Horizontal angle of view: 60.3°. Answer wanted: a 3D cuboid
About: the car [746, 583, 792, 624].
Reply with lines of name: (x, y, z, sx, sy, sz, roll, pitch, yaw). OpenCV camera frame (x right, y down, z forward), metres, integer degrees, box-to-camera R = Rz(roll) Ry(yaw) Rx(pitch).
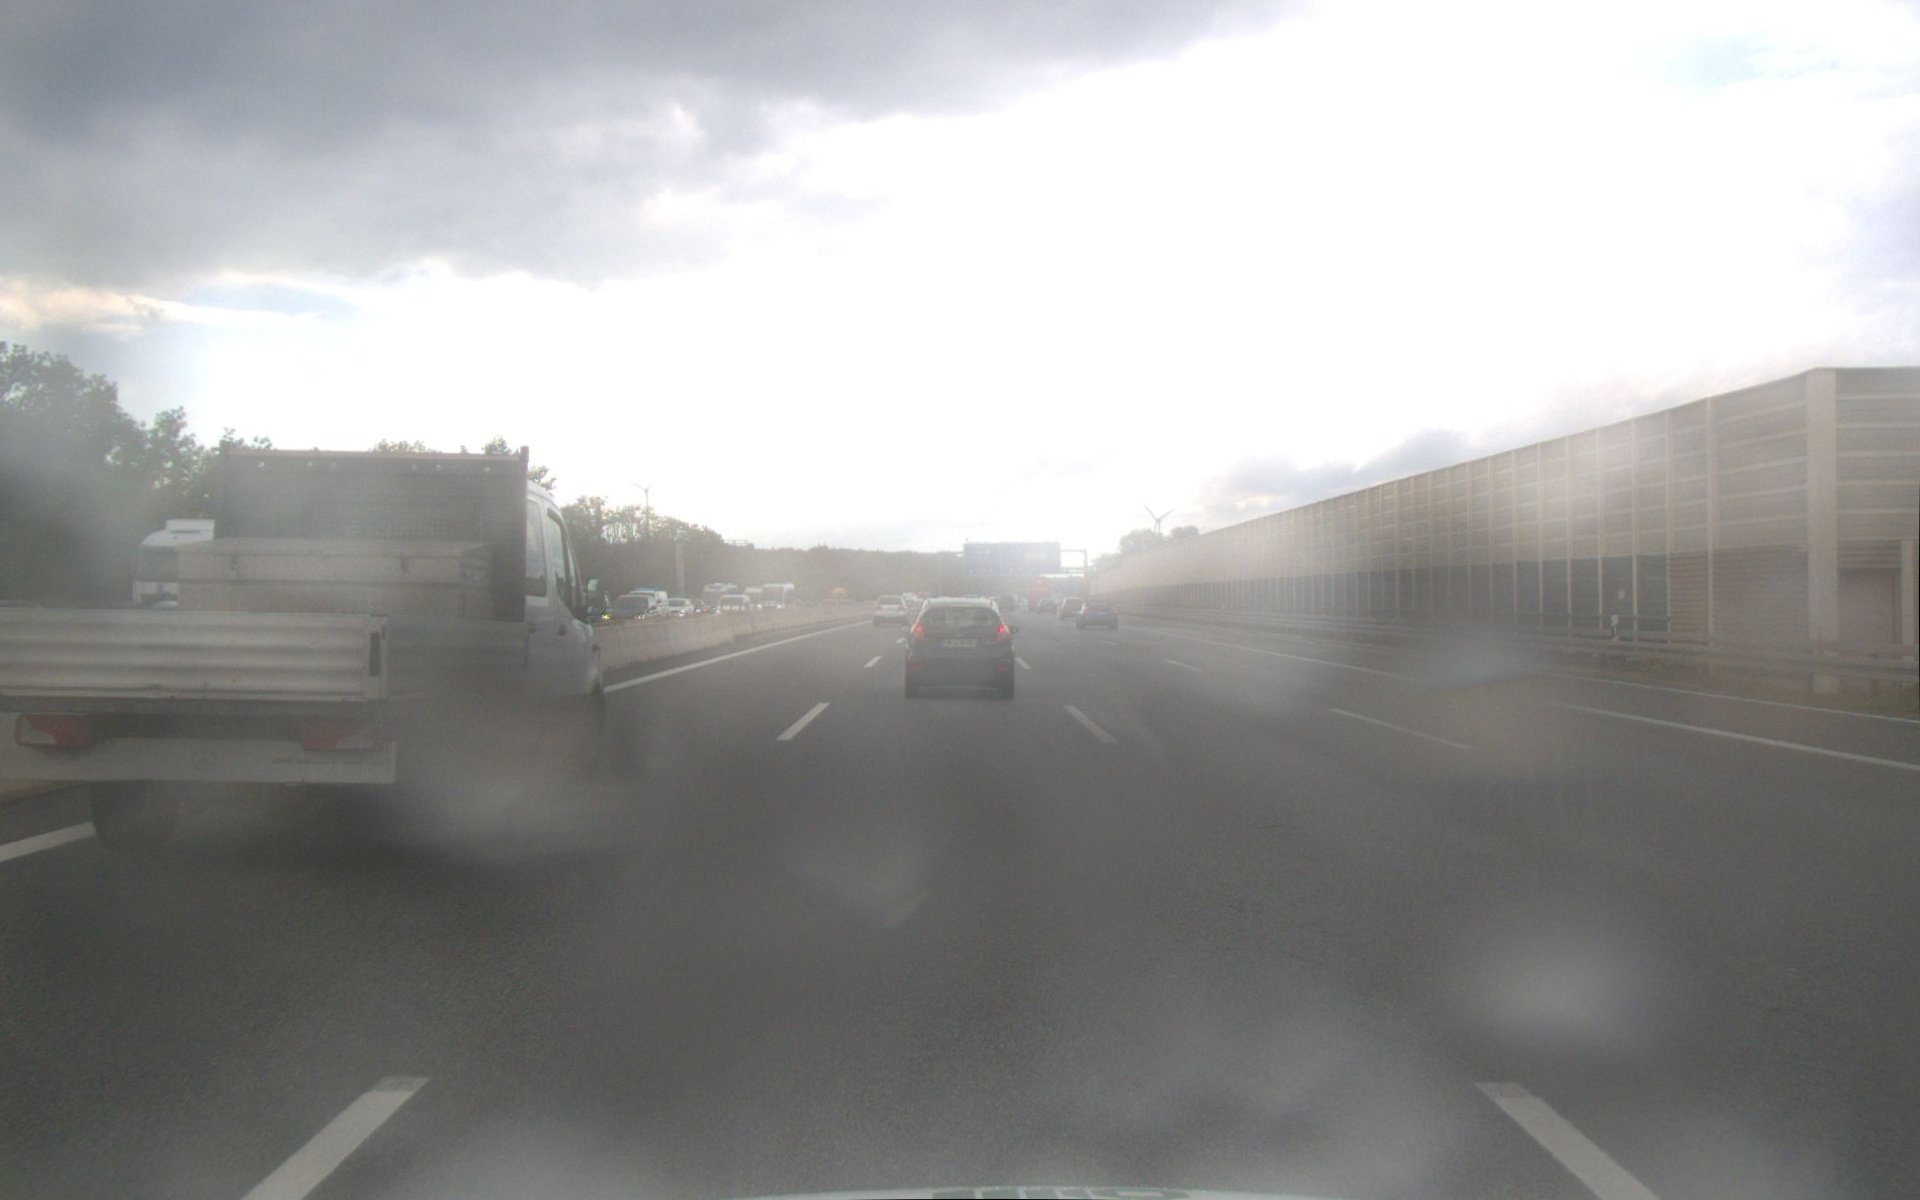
car: (-14.257, 0.211, 124.014, 2.185, 2.797, 9.166, 0, 1, 1)

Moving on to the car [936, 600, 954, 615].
car: (-1.686, 0.874, 188.503, 1.927, 1.588, 4.433, -1, -1, 0)

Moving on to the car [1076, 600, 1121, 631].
car: (6.714, 0.743, 80.567, 1.909, 1.443, 4.232, 0, 0, 1)

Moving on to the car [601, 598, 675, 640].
car: (-13.507, 0.768, 69.676, 2.018, 1.674, 5.380, 0, 0, 0)

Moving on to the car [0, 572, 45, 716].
car: (-13.742, 0.578, 20.483, 2.018, 1.913, 4.997, 0, 0, 0)

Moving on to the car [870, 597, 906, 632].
car: (-3.584, 0.713, 82.854, 1.682, 1.652, 4.278, 0, 1, -1)

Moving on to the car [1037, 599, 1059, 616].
car: (8.250, 0.745, 155.341, 1.844, 1.588, 4.433, -1, -1, 0)

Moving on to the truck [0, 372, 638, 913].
truck: (-3.899, 0.164, 11.180, 2.260, 2.482, 7.146, 0, 1, -2)

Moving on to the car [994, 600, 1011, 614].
car: (5.150, 0.864, 199.487, 1.927, 1.588, 4.432, -1, -1, 0)

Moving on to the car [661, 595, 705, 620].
car: (-17.445, 0.482, 104.277, 2.018, 1.561, 4.519, 0, 0, 0)

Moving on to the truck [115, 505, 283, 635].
truck: (-25.178, -0.967, 55.034, 2.911, 4.105, 5.726, 0, 0, 0)

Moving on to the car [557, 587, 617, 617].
car: (-21.242, 0.098, 94.356, 2.018, 1.674, 6.120, 0, 0, 0)

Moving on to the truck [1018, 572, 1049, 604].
truck: (8.901, -1.437, 201.597, 3.088, 3.664, 12.699, 1, 0, 0)

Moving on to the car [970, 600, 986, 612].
car: (2.431, 0.830, 224.791, 1.928, 1.588, 4.432, -1, -1, -1)

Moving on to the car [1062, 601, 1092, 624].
car: (8.243, 0.857, 116.692, 1.844, 1.569, 4.433, -1, -1, 1)

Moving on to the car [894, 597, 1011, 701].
car: (-0.132, 0.694, 25.799, 1.682, 1.441, 4.278, 0, 1, -1)

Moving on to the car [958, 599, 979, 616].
car: (0.837, 0.735, 161.374, 1.927, 1.588, 4.433, -1, -1, 0)

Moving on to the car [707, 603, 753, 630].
car: (-13.871, 0.956, 99.948, 2.018, 1.561, 5.470, 0, 0, 0)

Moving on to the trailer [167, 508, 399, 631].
trailer: (-25.166, -1.069, 62.738, 2.871, 4.102, 14.452, 0, 0, 0)

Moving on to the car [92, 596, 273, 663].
car: (-17.798, 0.643, 38.128, 2.018, 1.441, 4.523, 0, 0, 0)
